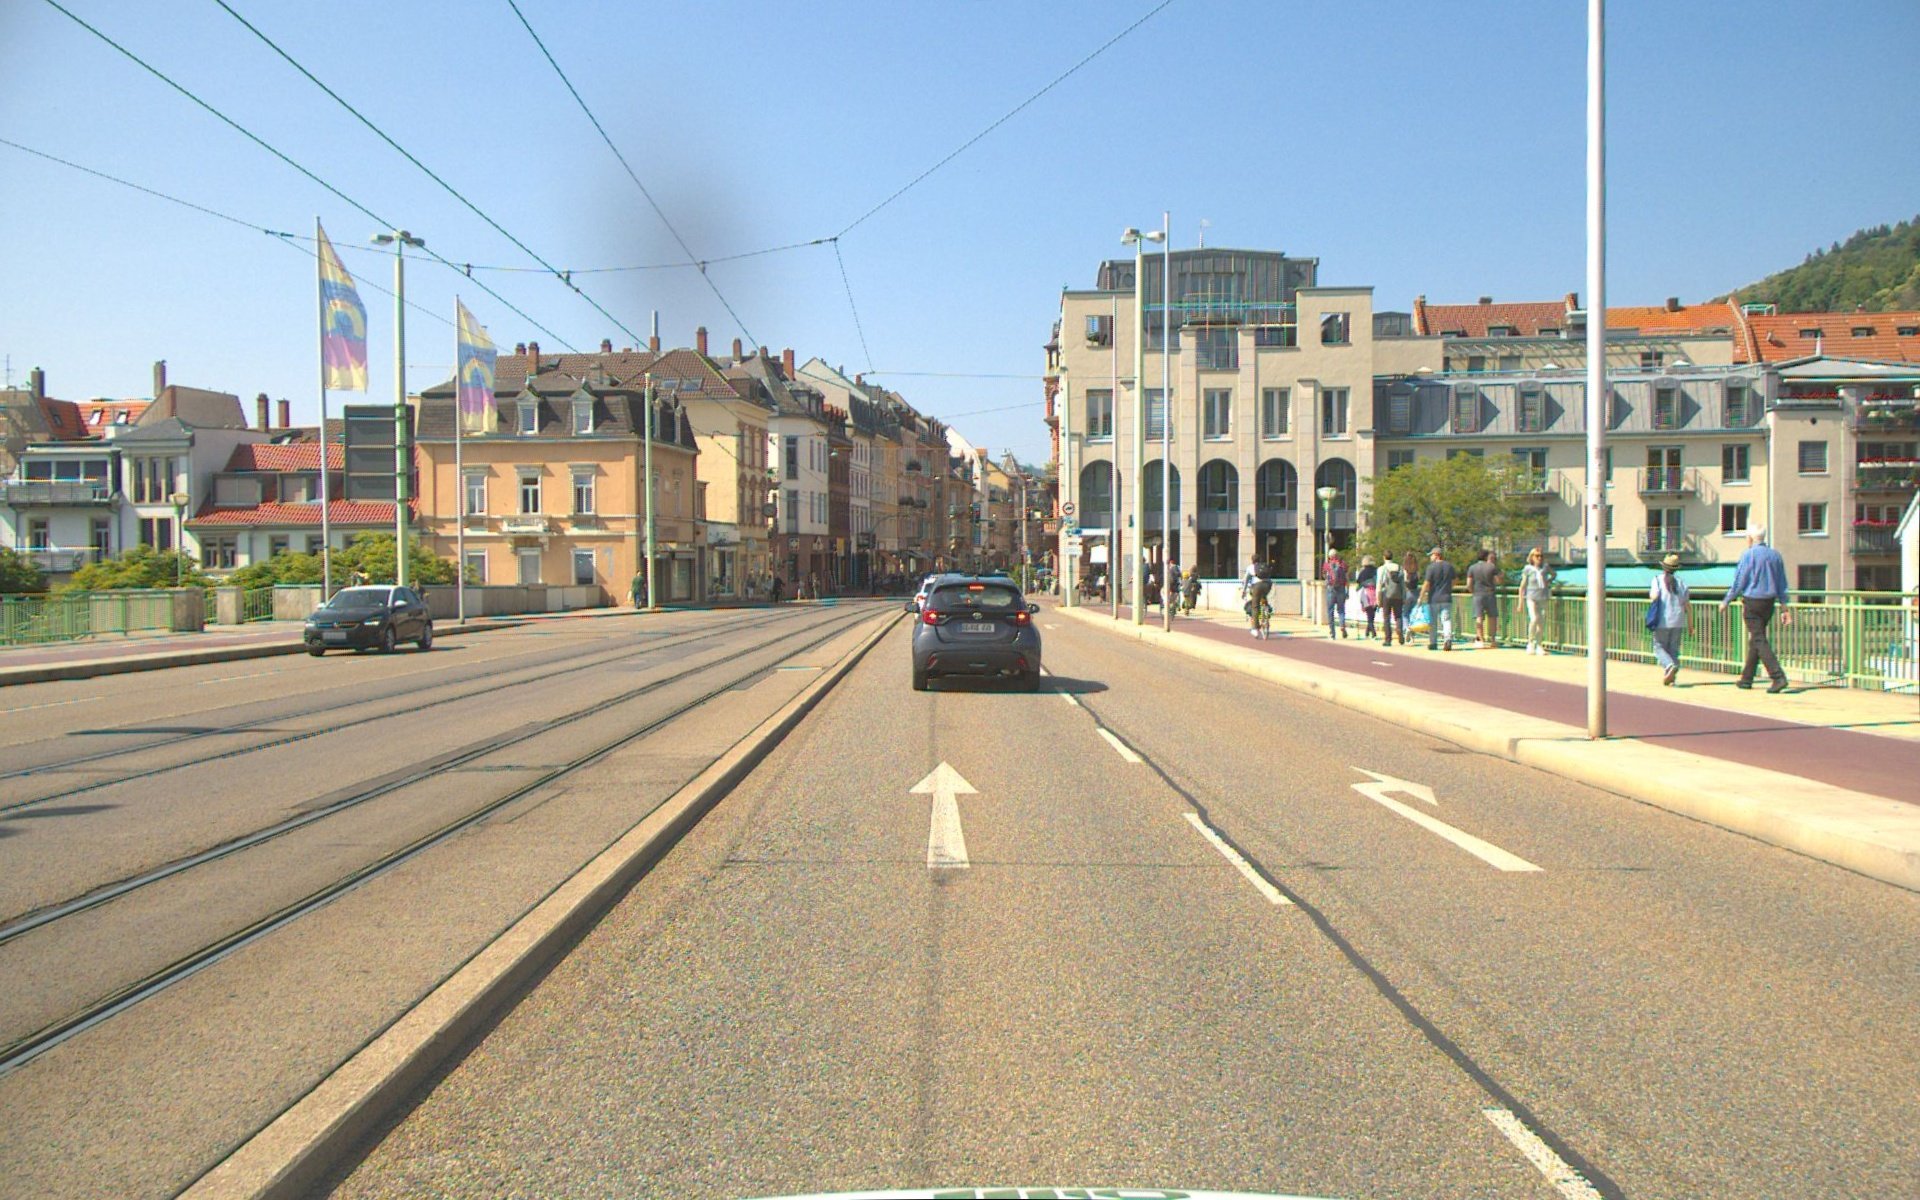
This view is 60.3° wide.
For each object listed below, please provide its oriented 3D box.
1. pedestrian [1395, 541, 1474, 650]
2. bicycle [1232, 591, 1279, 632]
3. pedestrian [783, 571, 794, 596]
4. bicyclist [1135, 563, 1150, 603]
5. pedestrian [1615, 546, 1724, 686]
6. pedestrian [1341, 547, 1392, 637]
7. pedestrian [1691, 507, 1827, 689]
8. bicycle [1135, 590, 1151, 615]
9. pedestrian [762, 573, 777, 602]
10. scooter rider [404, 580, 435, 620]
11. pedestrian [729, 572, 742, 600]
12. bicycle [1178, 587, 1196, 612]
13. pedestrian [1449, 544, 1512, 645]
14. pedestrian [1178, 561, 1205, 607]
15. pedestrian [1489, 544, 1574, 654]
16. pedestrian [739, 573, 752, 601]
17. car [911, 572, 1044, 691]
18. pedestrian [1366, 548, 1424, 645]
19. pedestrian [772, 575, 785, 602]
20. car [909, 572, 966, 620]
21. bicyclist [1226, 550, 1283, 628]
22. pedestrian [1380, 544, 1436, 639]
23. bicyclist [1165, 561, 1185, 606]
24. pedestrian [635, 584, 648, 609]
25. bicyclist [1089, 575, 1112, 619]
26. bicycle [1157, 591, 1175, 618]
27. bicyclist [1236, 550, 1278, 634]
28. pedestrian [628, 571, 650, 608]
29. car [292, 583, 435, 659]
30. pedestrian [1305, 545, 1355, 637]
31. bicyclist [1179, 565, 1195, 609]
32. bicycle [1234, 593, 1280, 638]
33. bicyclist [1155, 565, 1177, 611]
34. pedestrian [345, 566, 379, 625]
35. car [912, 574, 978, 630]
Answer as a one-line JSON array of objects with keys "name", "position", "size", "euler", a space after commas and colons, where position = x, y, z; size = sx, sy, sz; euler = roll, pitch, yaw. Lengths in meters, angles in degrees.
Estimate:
[{"name": "pedestrian", "position": [8.218, -0.085, 28.716], "size": [0.957, 1.808, 1.207], "euler": [-2, 1, -1]}, {"name": "bicycle", "position": [6.755, 0.251, 37.853], "size": [0.781, 0.898, 1.828], "euler": [-1, 1, 1]}, {"name": "pedestrian", "position": [-12.429, -1.228, 119.798], "size": [0.721, 1.797, 0.787], "euler": [0, 2, -1]}, {"name": "bicyclist", "position": [5.829, -0.541, 52.830], "size": [0.413, 1.278, 0.444], "euler": [-2, 1, 2]}, {"name": "pedestrian", "position": [8.263, 0.177, 19.296], "size": [0.812, 1.556, 0.933], "euler": [-2, 1, -1]}, {"name": "pedestrian", "position": [8.309, -0.169, 33.874], "size": [0.724, 1.808, 1.016], "euler": [-2, 1, -1]}, {"name": "pedestrian", "position": [8.786, -0.030, 18.233], "size": [0.907, 1.930, 1.137], "euler": [-1, 1, -1]}, {"name": "bicycle", "position": [5.854, 0.068, 52.845], "size": [0.407, 0.779, 0.962], "euler": [-2, 1, 3]}, {"name": "pedestrian", "position": [-12.075, -0.786, 104.935], "size": [0.721, 1.796, 0.787], "euler": [4, 0, 0]}, {"name": "scooter rider", "position": [-18.624, 0.009, 57.036], "size": [0.752, 1.338, 0.598], "euler": [4, 0, 11]}, {"name": "pedestrian", "position": [-13.676, -0.856, 100.644], "size": [0.636, 1.629, 0.566], "euler": [4, 3, 0]}, {"name": "bicycle", "position": [7.427, -0.017, 54.109], "size": [0.408, 0.779, 0.962], "euler": [-2, 1, 0]}, {"name": "pedestrian", "position": [9.251, -0.105, 29.419], "size": [0.724, 1.748, 1.016], "euler": [-2, 1, -1]}, {"name": "pedestrian", "position": [8.554, -0.587, 61.095], "size": [0.724, 1.642, 1.015], "euler": [4, 0, -1]}, {"name": "pedestrian", "position": [9.157, -0.025, 26.556], "size": [0.928, 1.691, 1.082], "euler": [-2, 1, -1]}, {"name": "pedestrian", "position": [-12.994, -0.787, 100.081], "size": [0.636, 1.629, 0.566], "euler": [4, 3, 0]}, {"name": "car", "position": [0.204, 0.382, 23.100], "size": [1.685, 1.499, 3.657], "euler": [1, 1, -1]}, {"name": "pedestrian", "position": [8.050, -0.067, 30.635], "size": [0.739, 1.748, 1.073], "euler": [-2, 1, -1]}, {"name": "pedestrian", "position": [-11.374, -0.741, 103.527], "size": [0.636, 1.629, 0.566], "euler": [4, 3, 0]}, {"name": "car", "position": [-0.773, -0.153, 56.885], "size": [1.858, 1.556, 4.000], "euler": [1, 1, -1]}, {"name": "bicyclist", "position": [6.743, -0.256, 37.890], "size": [1.116, 1.725, 0.925], "euler": [-1, 1, 1]}, {"name": "pedestrian", "position": [8.614, -0.163, 31.825], "size": [0.724, 1.776, 1.016], "euler": [-2, 1, -1]}, {"name": "bicyclist", "position": [7.347, -0.568, 56.571], "size": [0.480, 1.491, 0.437], "euler": [-1, 3, -39]}, {"name": "pedestrian", "position": [-15.467, -0.174, 80.313], "size": [0.403, 1.166, 0.545], "euler": [4, 0, 8]}, {"name": "bicyclist", "position": [8.437, -0.167, 99.324], "size": [1.202, 2.572, 1.105], "euler": [4, 0, 3]}, {"name": "bicycle", "position": [6.187, 0.136, 49.608], "size": [0.407, 0.779, 1.206], "euler": [-2, 1, 2]}, {"name": "bicyclist", "position": [6.252, -0.172, 34.880], "size": [0.687, 1.725, 0.924], "euler": [-1, 1, 0]}, {"name": "pedestrian", "position": [-15.049, -0.490, 77.513], "size": [0.746, 1.682, 0.712], "euler": [4, 0, 2]}, {"name": "car", "position": [-12.776, 0.411, 35.638], "size": [1.681, 1.480, 3.901], "euler": [-1, 1, -1]}, {"name": "pedestrian", "position": [7.562, -0.184, 33.790], "size": [0.724, 1.833, 1.016], "euler": [-2, 1, -1]}, {"name": "bicyclist", "position": [7.430, -0.425, 54.081], "size": [0.413, 1.407, 0.443], "euler": [-1, 0, -1]}, {"name": "bicycle", "position": [6.263, 0.310, 34.913], "size": [0.689, 0.898, 1.525], "euler": [-1, 1, 0]}, {"name": "bicyclist", "position": [6.164, -0.376, 49.516], "size": [0.527, 1.339, 0.672], "euler": [-3, 1, 4]}, {"name": "pedestrian", "position": [-18.735, -0.138, 51.818], "size": [0.730, 1.812, 0.802], "euler": [-1, 0, 1]}, {"name": "car", "position": [-0.446, 0.032, 48.702], "size": [1.858, 1.556, 4.000], "euler": [1, 1, -1]}]
